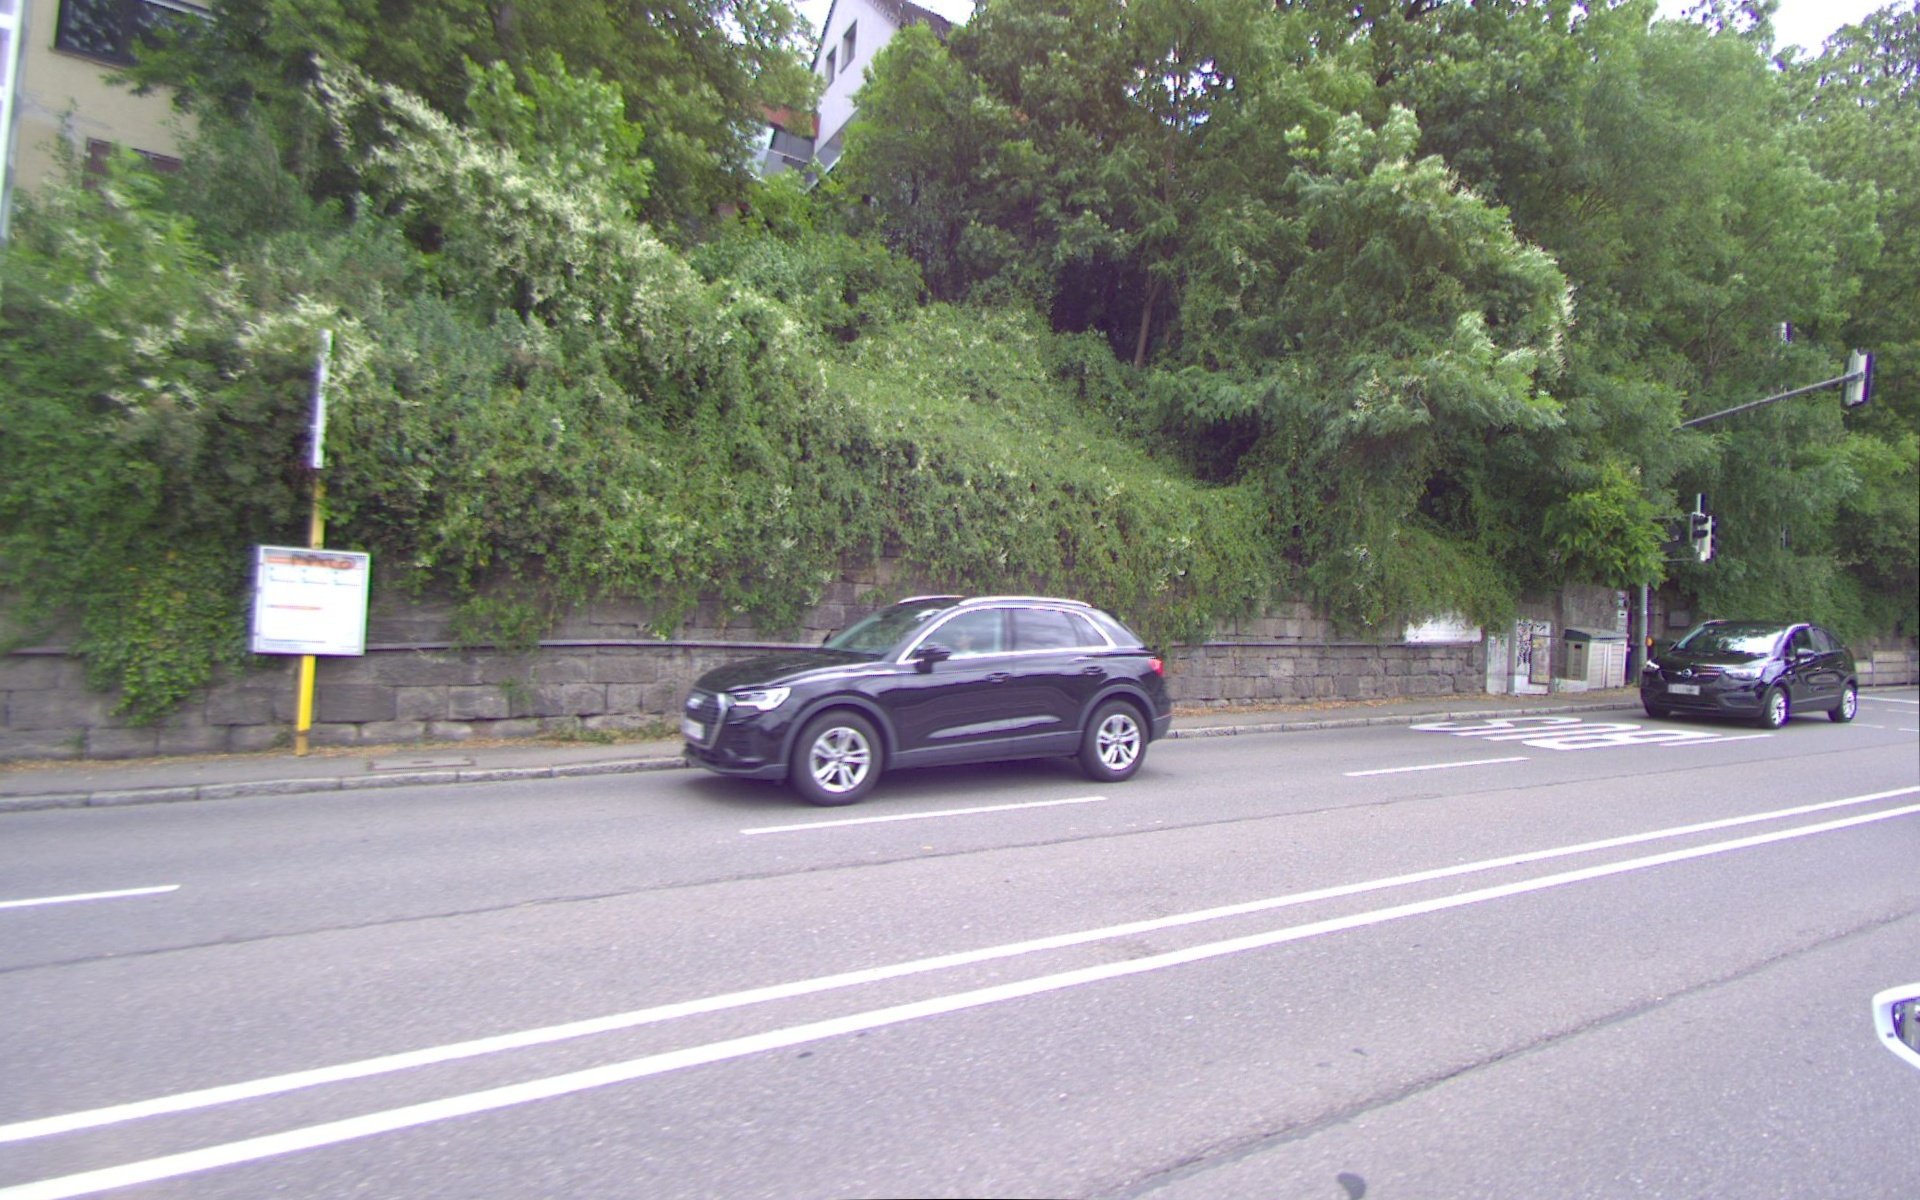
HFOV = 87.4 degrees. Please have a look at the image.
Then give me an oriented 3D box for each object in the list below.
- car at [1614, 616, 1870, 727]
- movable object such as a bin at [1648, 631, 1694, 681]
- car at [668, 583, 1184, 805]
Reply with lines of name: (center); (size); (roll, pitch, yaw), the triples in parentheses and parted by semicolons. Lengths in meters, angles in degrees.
car: (12.626, 1.071, 16.177); (4.161, 1.502, 1.773); (1, 1, -30)
movable object such as a bin: (16.110, 1.262, 22.756); (0.550, 1.081, 0.638); (2, 1, -31)
car: (-0.253, 0.742, 9.003); (4.198, 1.569, 1.933); (2, -1, -30)
